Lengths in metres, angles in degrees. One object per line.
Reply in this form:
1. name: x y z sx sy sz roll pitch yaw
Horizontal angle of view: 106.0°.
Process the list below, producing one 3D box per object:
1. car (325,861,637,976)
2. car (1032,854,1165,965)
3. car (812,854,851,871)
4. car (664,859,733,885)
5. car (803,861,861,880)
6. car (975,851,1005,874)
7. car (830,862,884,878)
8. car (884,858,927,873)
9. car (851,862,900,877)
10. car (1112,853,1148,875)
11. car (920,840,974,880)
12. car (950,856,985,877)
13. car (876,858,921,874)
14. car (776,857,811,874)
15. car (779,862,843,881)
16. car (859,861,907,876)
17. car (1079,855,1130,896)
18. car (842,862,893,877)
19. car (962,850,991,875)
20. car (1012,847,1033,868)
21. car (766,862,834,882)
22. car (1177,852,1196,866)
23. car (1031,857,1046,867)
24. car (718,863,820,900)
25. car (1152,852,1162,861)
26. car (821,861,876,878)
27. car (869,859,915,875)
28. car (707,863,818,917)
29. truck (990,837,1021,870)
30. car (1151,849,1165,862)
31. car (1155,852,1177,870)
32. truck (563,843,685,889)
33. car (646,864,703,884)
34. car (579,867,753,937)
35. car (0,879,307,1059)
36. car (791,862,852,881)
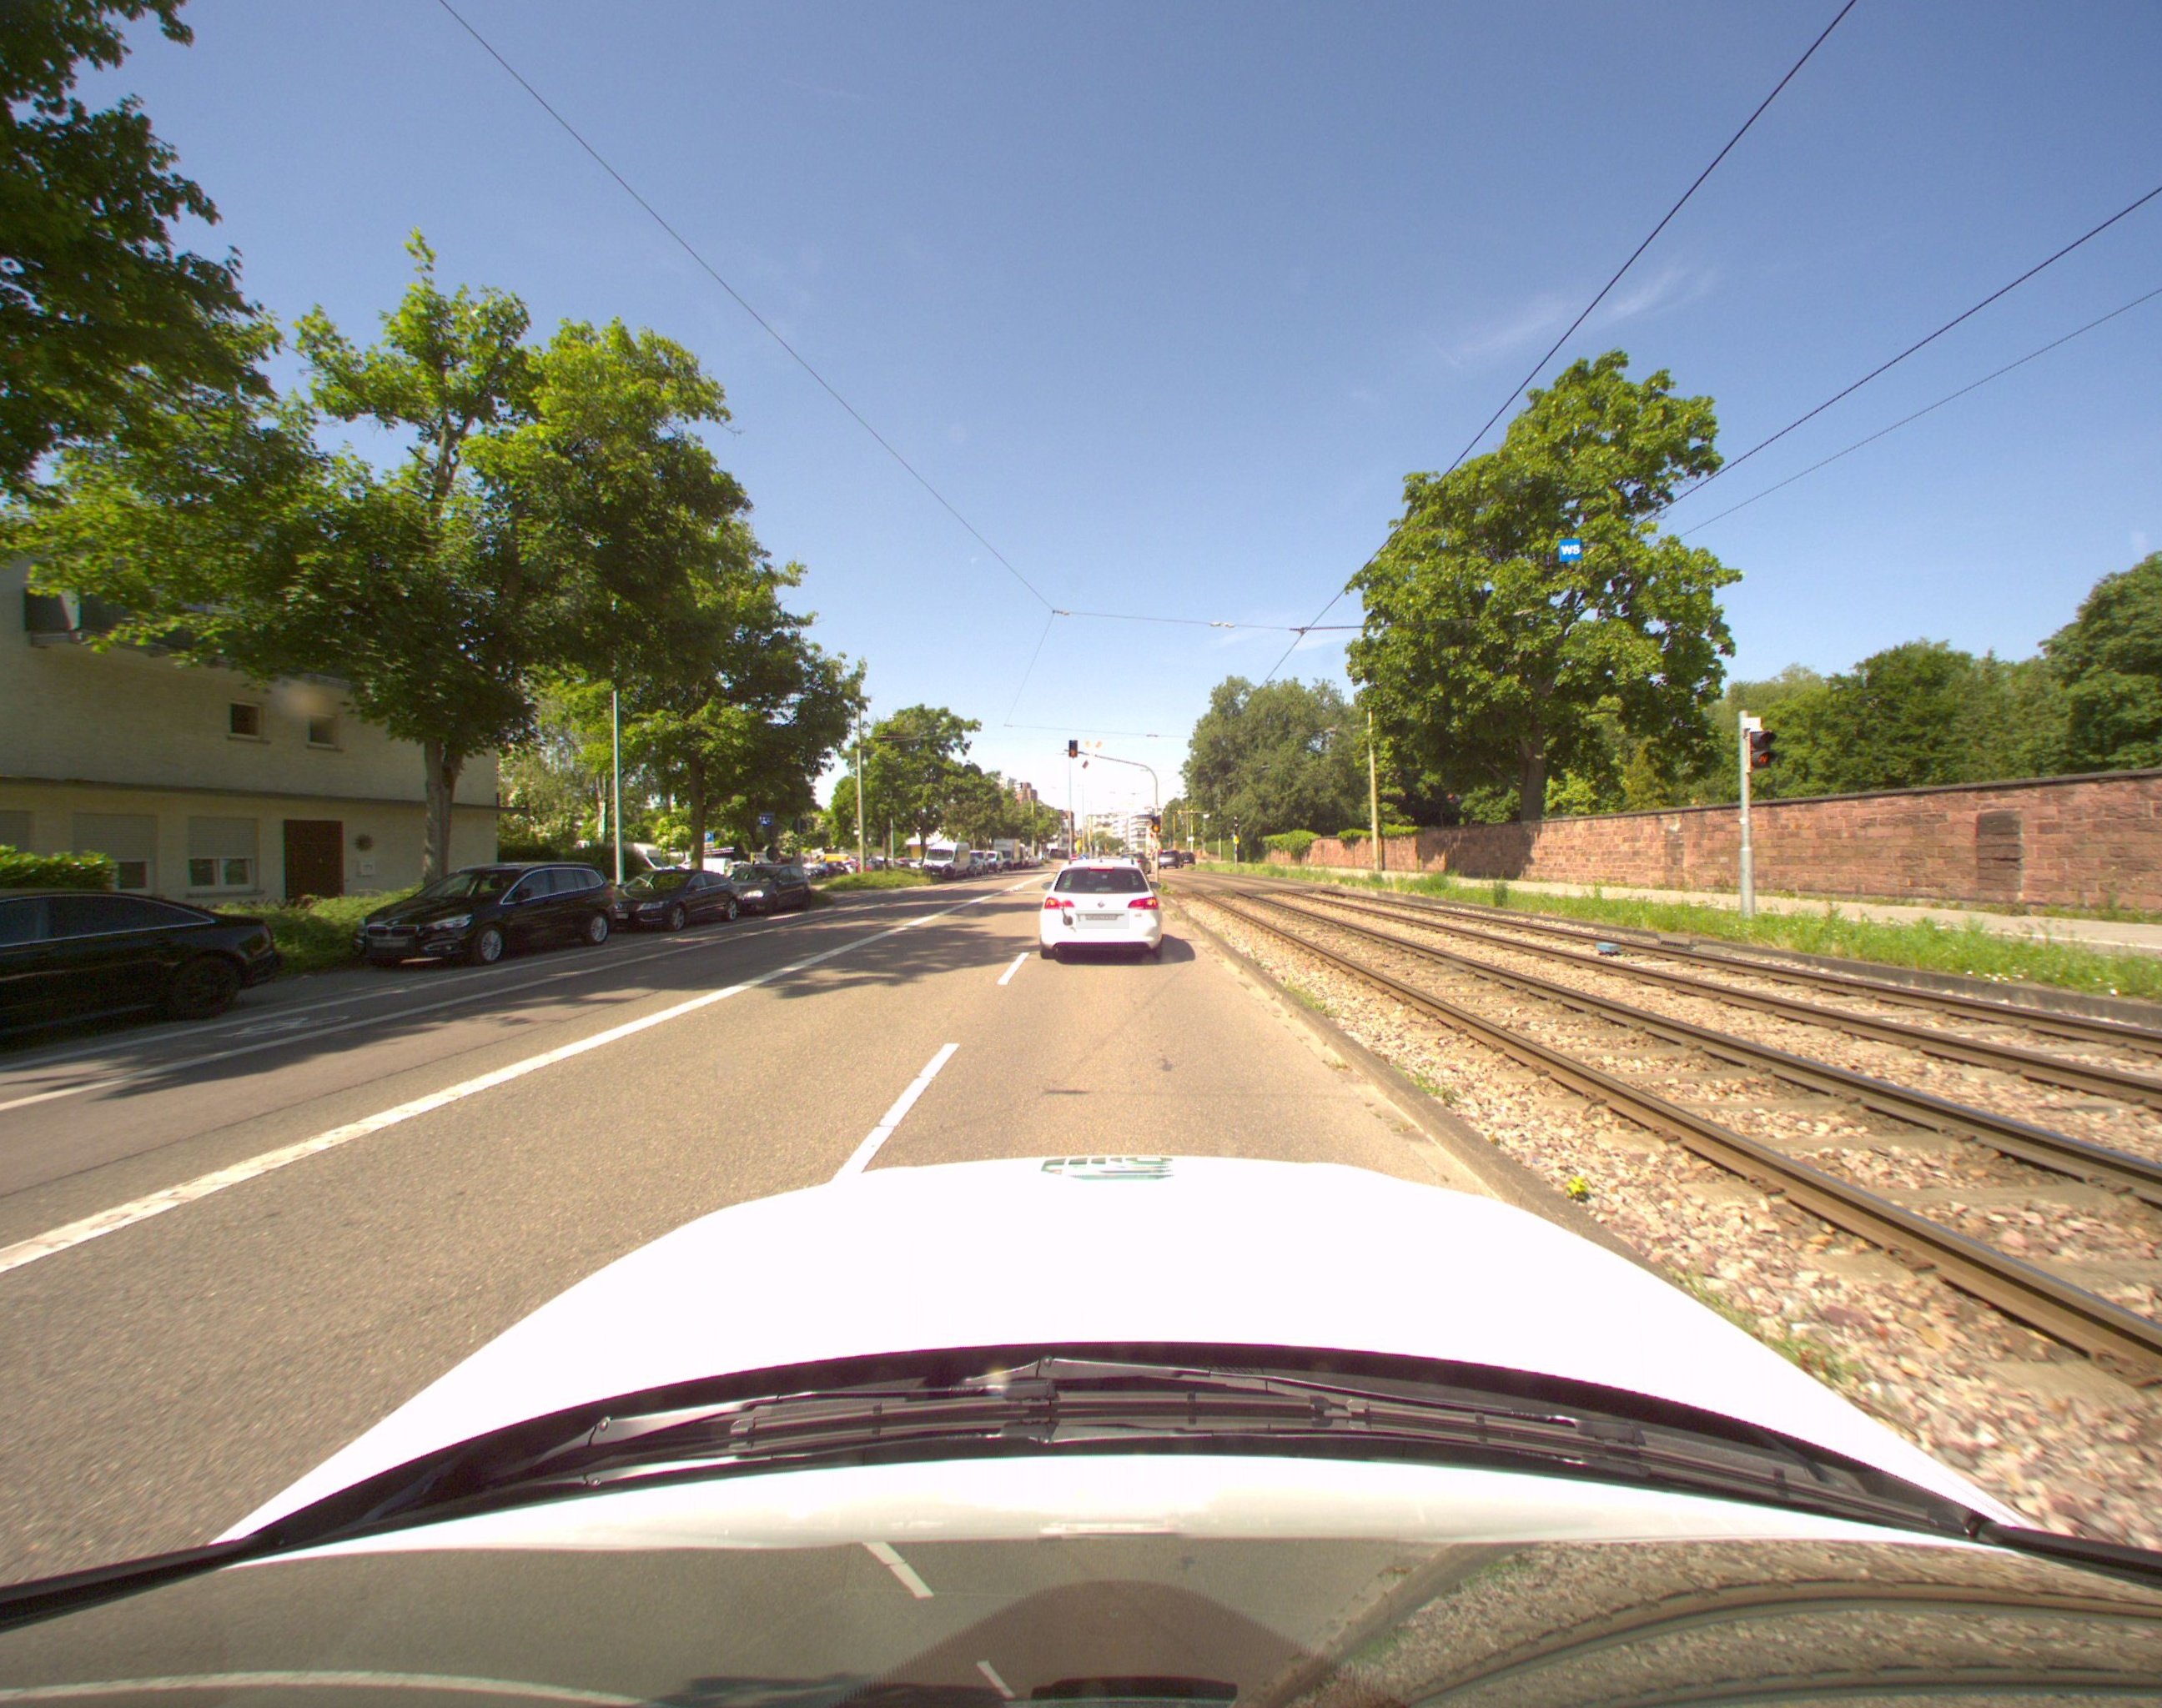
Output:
1. car: -10.132 0.966 14.380 1.755 1.606 4.896 0 0 2
2. car: 0.275 0.746 12.824 1.761 1.446 3.914 1 0 1
3. car: -30.575 0.993 99.958 4.248 2.014 1.997 1 -1 -4
4. car: -31.436 1.447 66.990 4.682 2.014 1.998 1 -1 -3
5. car: -19.671 1.280 64.342 3.969 1.350 1.773 -2 0 4
6. car: -8.260 0.731 74.152 1.836 1.960 5.137 -2 0 2
7. car: -19.078 1.339 69.445 3.969 1.225 1.773 -2 0 4
8. car: -18.124 1.211 84.137 3.969 1.444 1.773 -2 0 4
9. car: -18.754 1.384 74.341 3.969 1.225 1.773 -2 0 4
10. car: 3.339 0.637 54.593 1.849 1.416 4.338 1 0 11
11. car: -8.913 0.377 54.695 2.049 2.501 6.315 1 0 5
12. car: -8.459 0.910 61.155 1.836 1.516 4.199 -2 0 2
13. car: -18.296 1.223 81.594 3.969 1.444 1.773 -2 0 4
14. car: -33.497 1.339 94.899 3.412 1.876 1.552 -2 0 0
15. car: -19.382 1.224 58.533 3.969 1.225 1.773 -2 0 4
16. car: -18.559 1.351 76.457 3.969 1.225 1.773 -2 0 4
17. car: 0.866 0.751 29.972 1.739 1.388 3.915 1 0 2
18. car: -18.853 1.372 72.009 3.969 1.225 1.773 -2 0 4
19. car: -8.703 0.695 68.020 1.839 1.937 5.190 -2 0 -2
20. car: -6.999 0.387 98.331 1.836 2.494 5.860 -2 0 3
21. car: -19.196 1.243 55.707 3.974 1.225 1.771 -2 0 0
22. car: 11.135 0.526 86.104 1.735 1.407 3.925 1 0 11
23. car: -6.169 1.165 118.823 1.774 1.433 4.040 -2 0 2
24. car: -14.340 1.237 37.558 3.884 1.407 1.753 -3 1 2
25. car: 14.550 0.506 156.600 1.685 1.812 3.455 1 -1 2
26. car: -19.078 1.301 66.977 3.969 1.264 1.773 -2 0 4
27. car: -18.344 1.245 79.090 3.969 1.402 1.773 -2 0 4
28. car: -9.634 1.039 24.997 1.635 1.450 4.007 1 0 3
29. truck: -7.619 -0.065 82.902 2.348 3.122 6.893 -2 0 1
30. car: 15.516 0.397 165.241 2.454 2.499 5.912 1 -1 2
31. car: 7.521 0.597 72.191 1.852 1.513 3.920 1 0 6
32. truck: -31.835 0.819 56.881 7.119 3.019 2.231 1 0 -1
33. car: -32.286 1.584 64.769 3.754 1.356 1.560 2 0 5
34. car: -10.002 1.082 20.121 1.684 1.379 4.784 -1 0 2
35. car: -10.291 1.062 7.423 1.835 1.465 4.907 -1 0 -1
36. car: -19.677 1.321 61.858 3.969 1.225 1.773 -2 0 4
